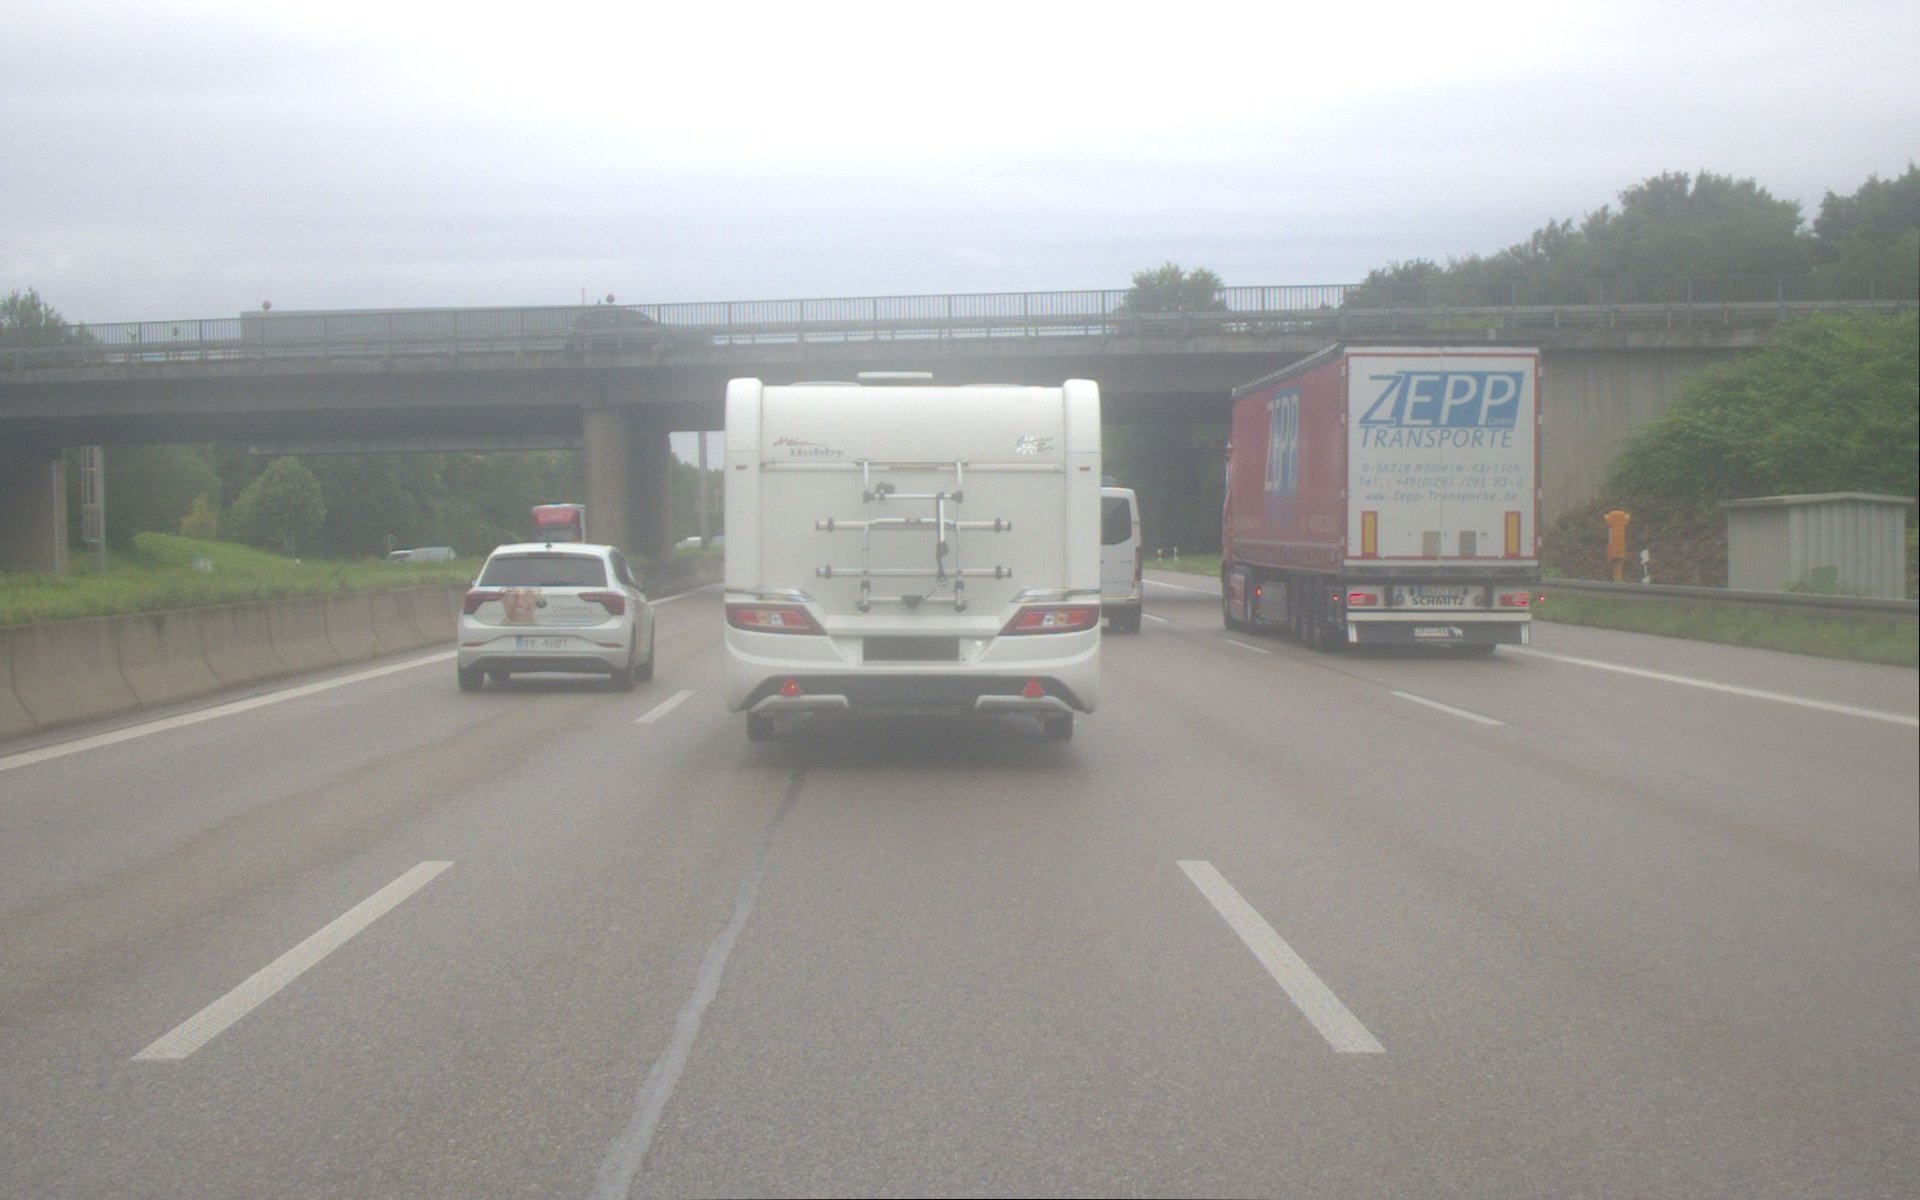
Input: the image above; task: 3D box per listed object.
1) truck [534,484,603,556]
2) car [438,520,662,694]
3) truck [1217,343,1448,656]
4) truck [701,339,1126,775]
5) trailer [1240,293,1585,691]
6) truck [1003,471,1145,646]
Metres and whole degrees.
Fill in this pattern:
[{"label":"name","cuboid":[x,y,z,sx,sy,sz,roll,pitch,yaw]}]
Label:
[{"label":"truck","cuboid":[-21.789,-4.452,191.804,2.693,3.838,10.111,-1,1,0]},{"label":"car","cuboid":[-4.050,0.012,34.623,1.753,1.612,4.664,-1,1,-1]},{"label":"truck","cuboid":[6.015,-1.609,56.430,3.048,4.822,5.850,1,1,0]},{"label":"truck","cuboid":[-0.347,-0.305,24.381,2.661,2.733,5.078,1,1,-1]},{"label":"trailer","cuboid":[6.111,-1.419,48.659,3.100,4.905,11.791,1,1,-1]},{"label":"truck","cuboid":[1.860,-0.705,57.680,2.053,2.760,5.549,1,1,-1]}]
